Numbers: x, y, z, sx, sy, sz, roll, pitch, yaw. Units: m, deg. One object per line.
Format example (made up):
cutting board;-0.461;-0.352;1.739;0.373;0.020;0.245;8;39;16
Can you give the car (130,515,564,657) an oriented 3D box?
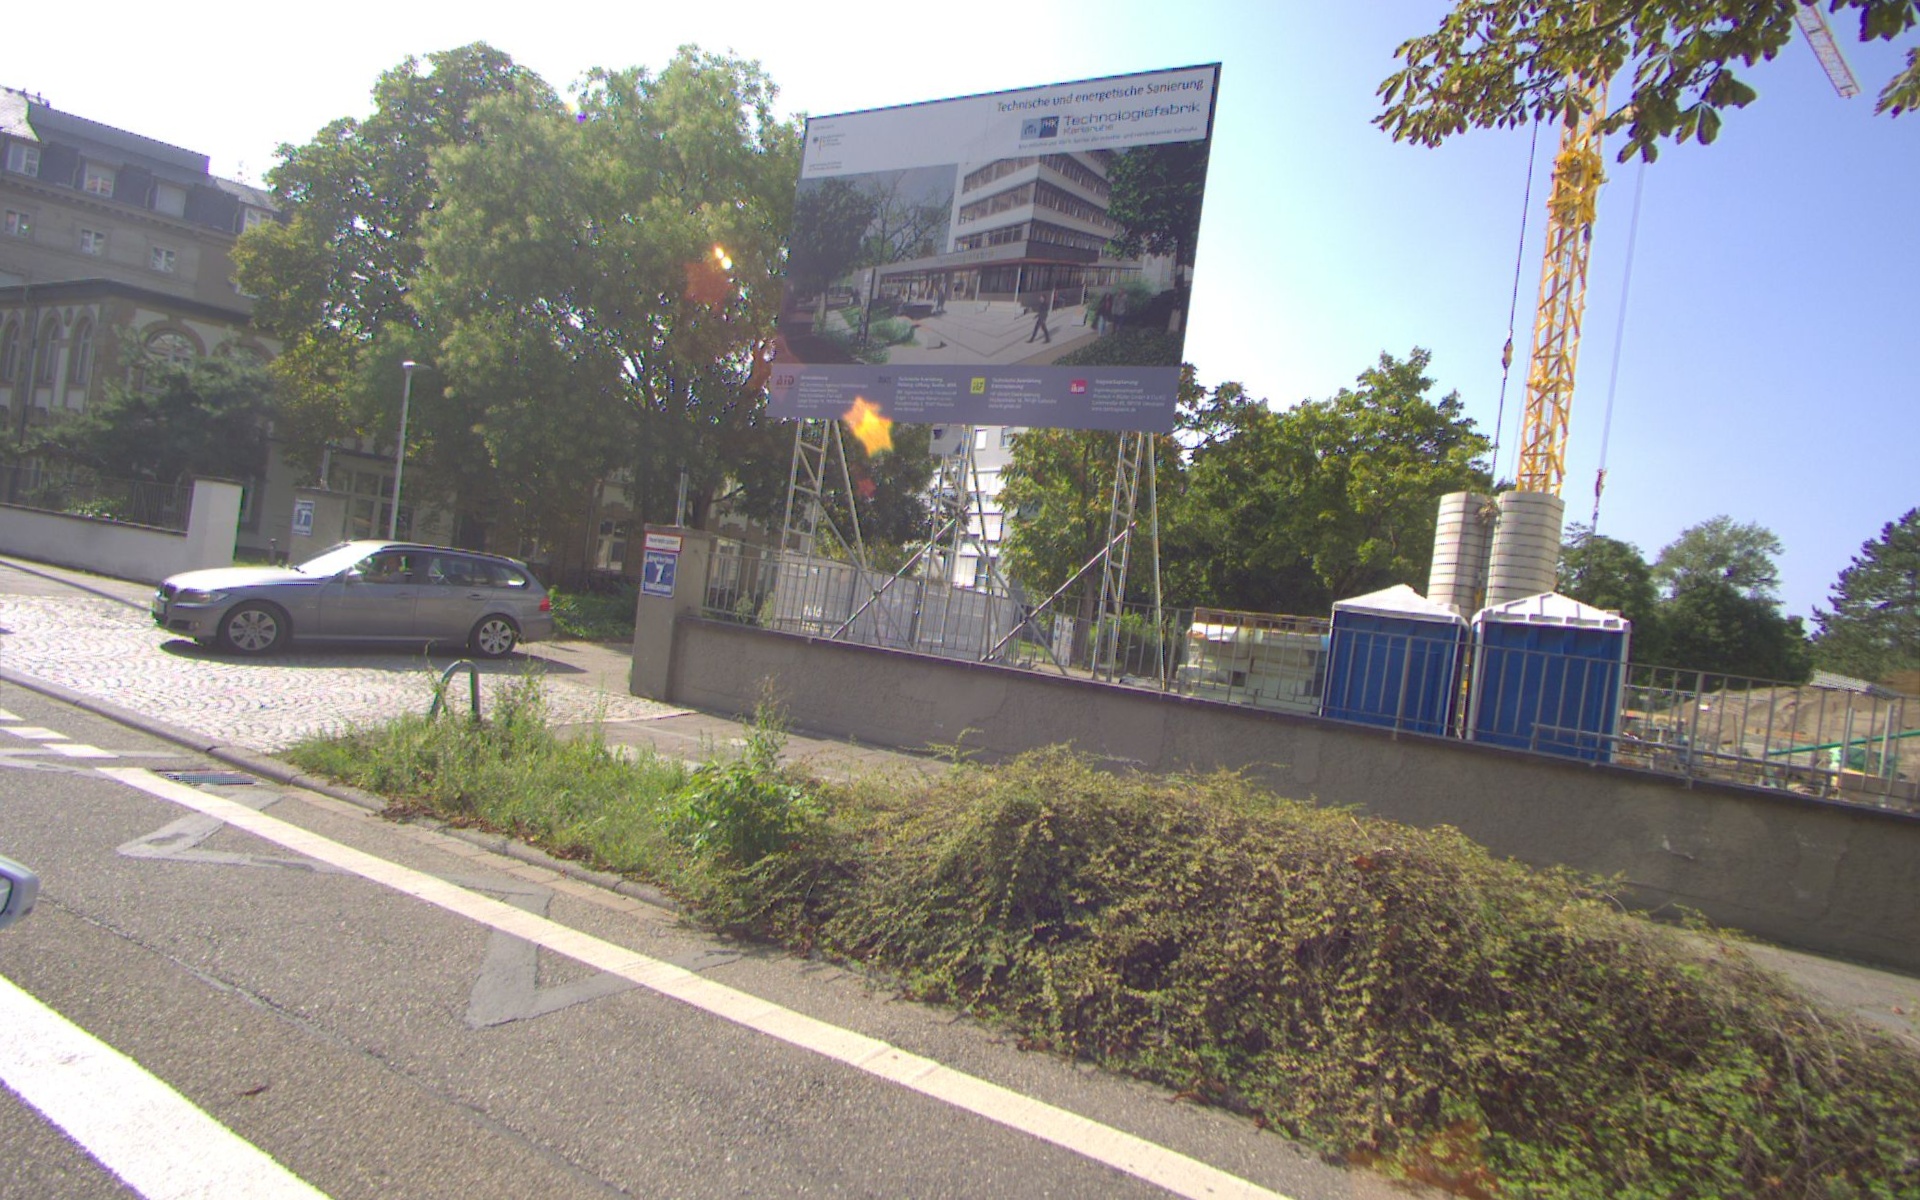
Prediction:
car;-7.681;-0.096;13.009;1.779;1.428;4.415;6;1;39
